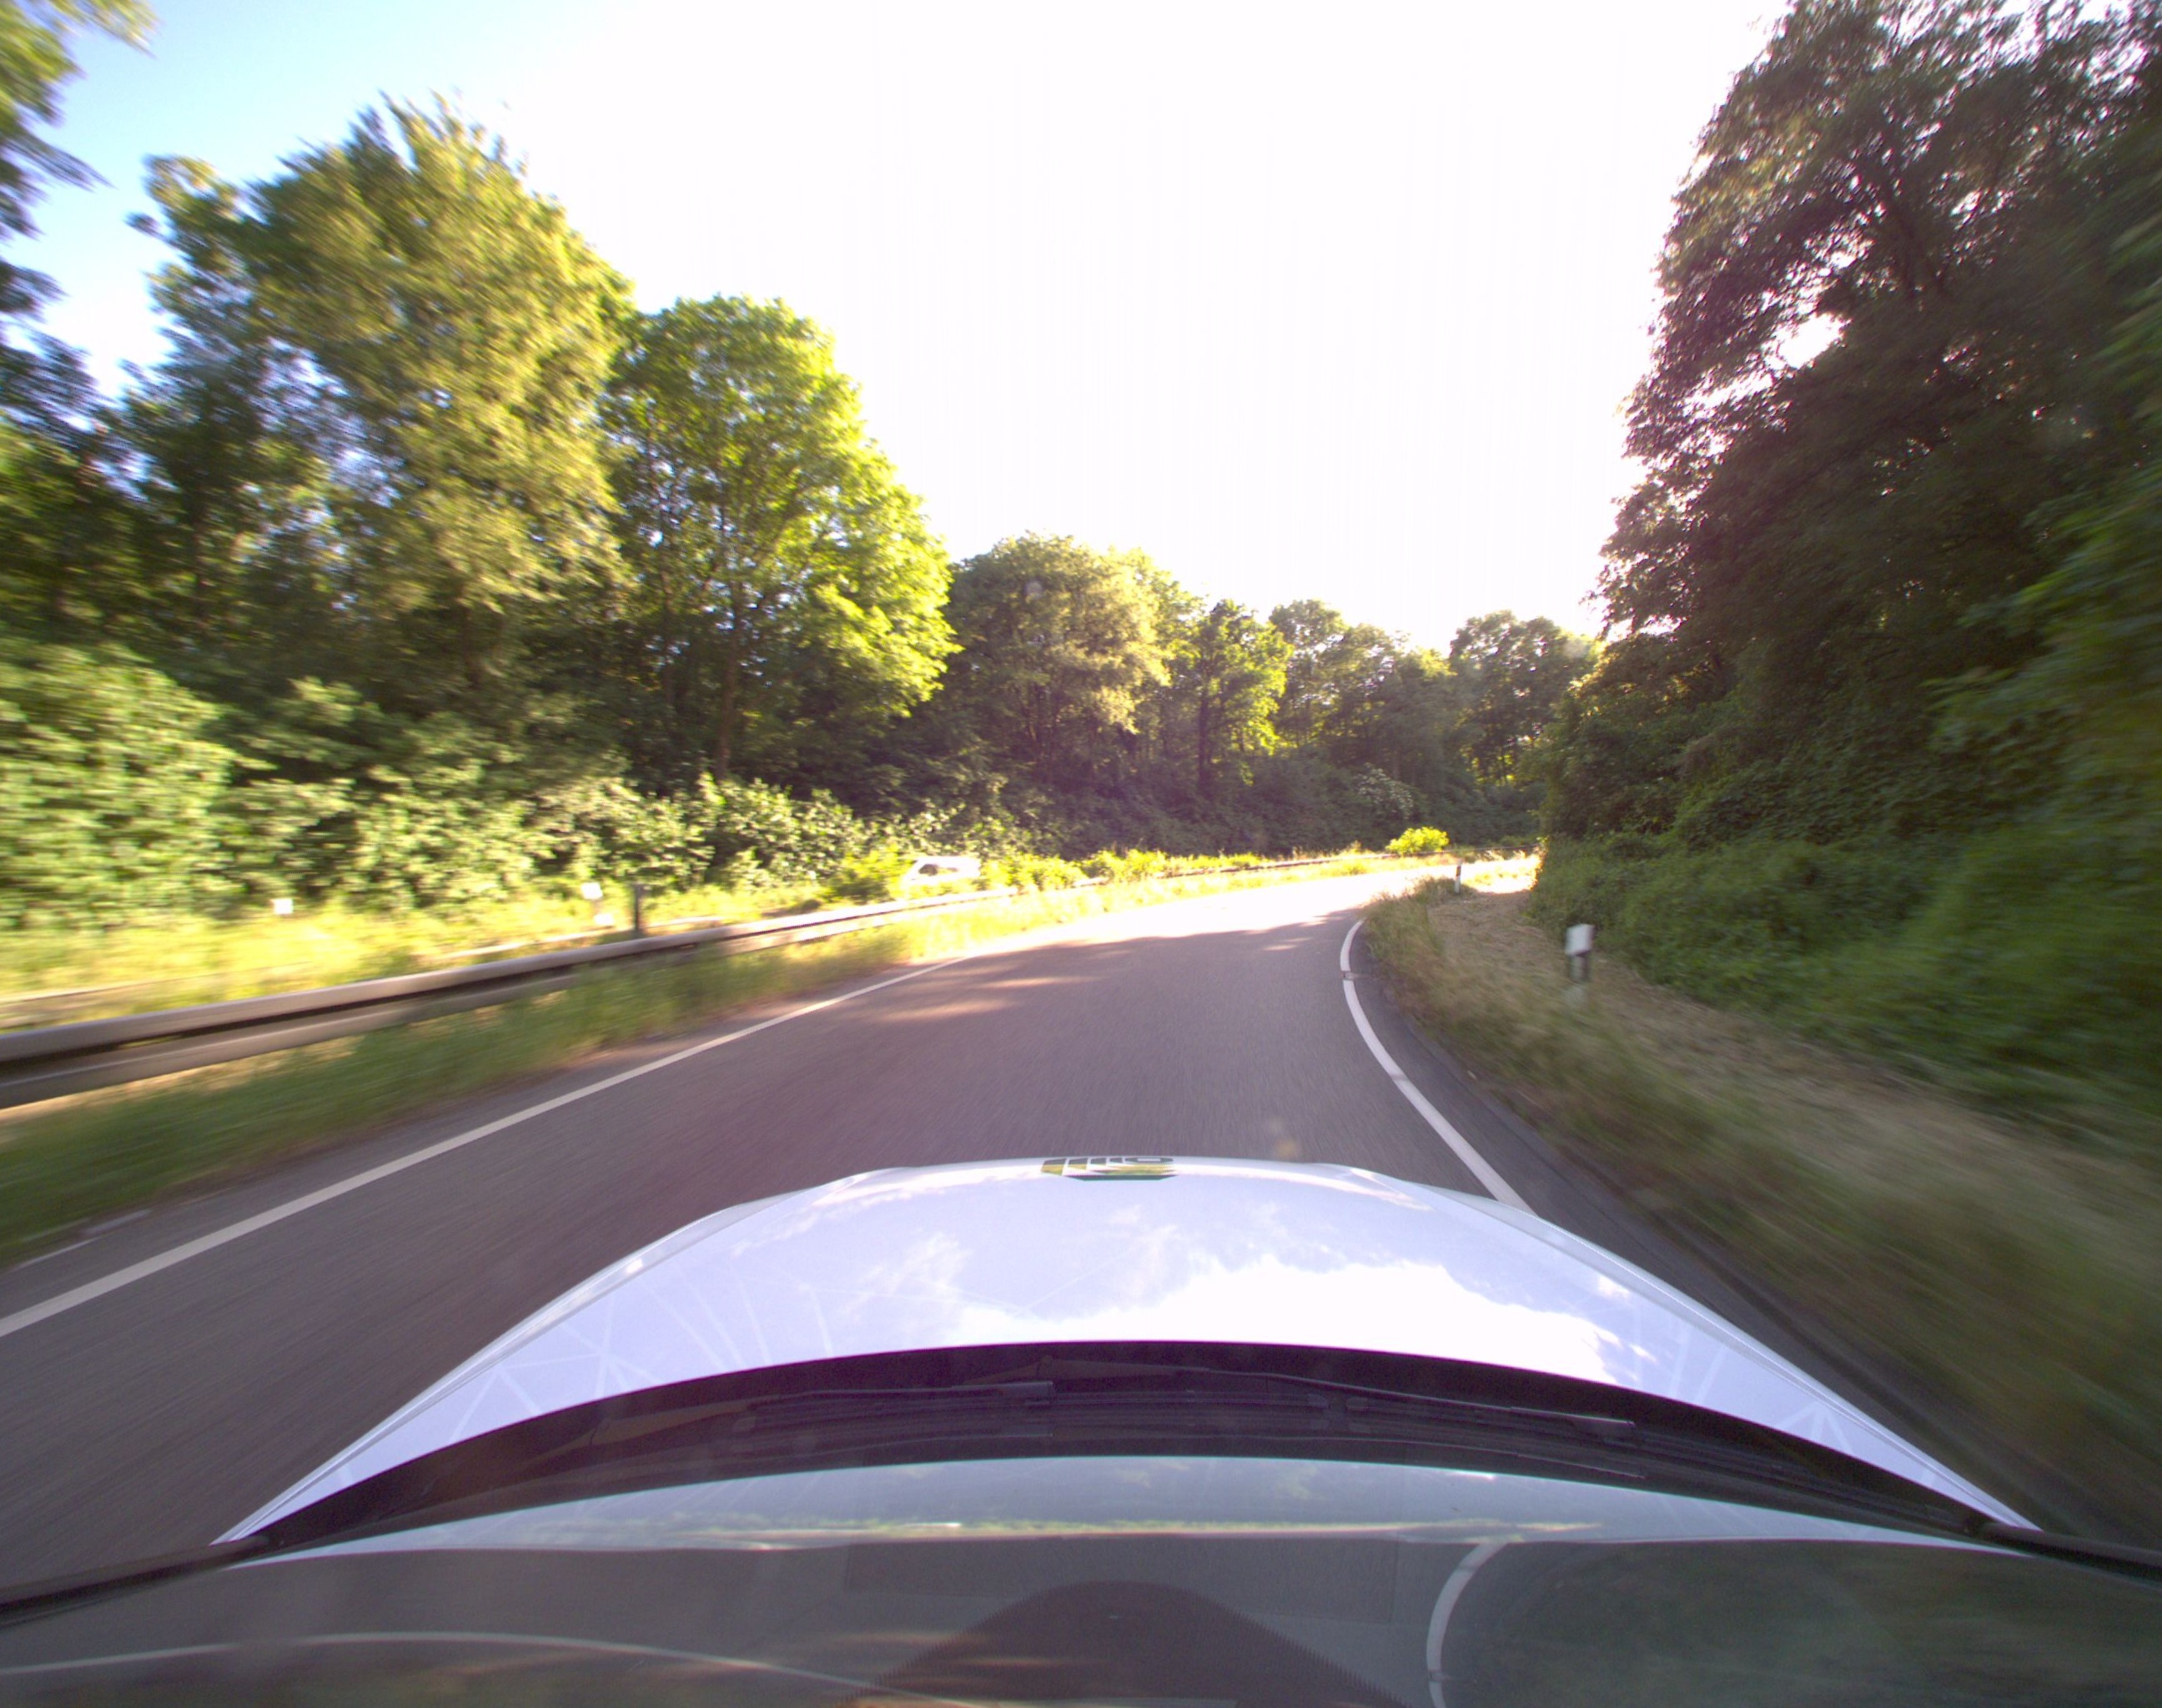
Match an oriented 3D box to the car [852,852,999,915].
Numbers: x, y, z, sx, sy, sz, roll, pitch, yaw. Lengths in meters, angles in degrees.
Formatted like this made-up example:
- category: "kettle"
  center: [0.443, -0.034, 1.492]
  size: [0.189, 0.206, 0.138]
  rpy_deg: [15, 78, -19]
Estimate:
- category: "car"
  center: [-4.131, 0.747, 22.262]
  size: [1.705, 1.487, 4.025]
  rpy_deg: [-2, 0, 29]
